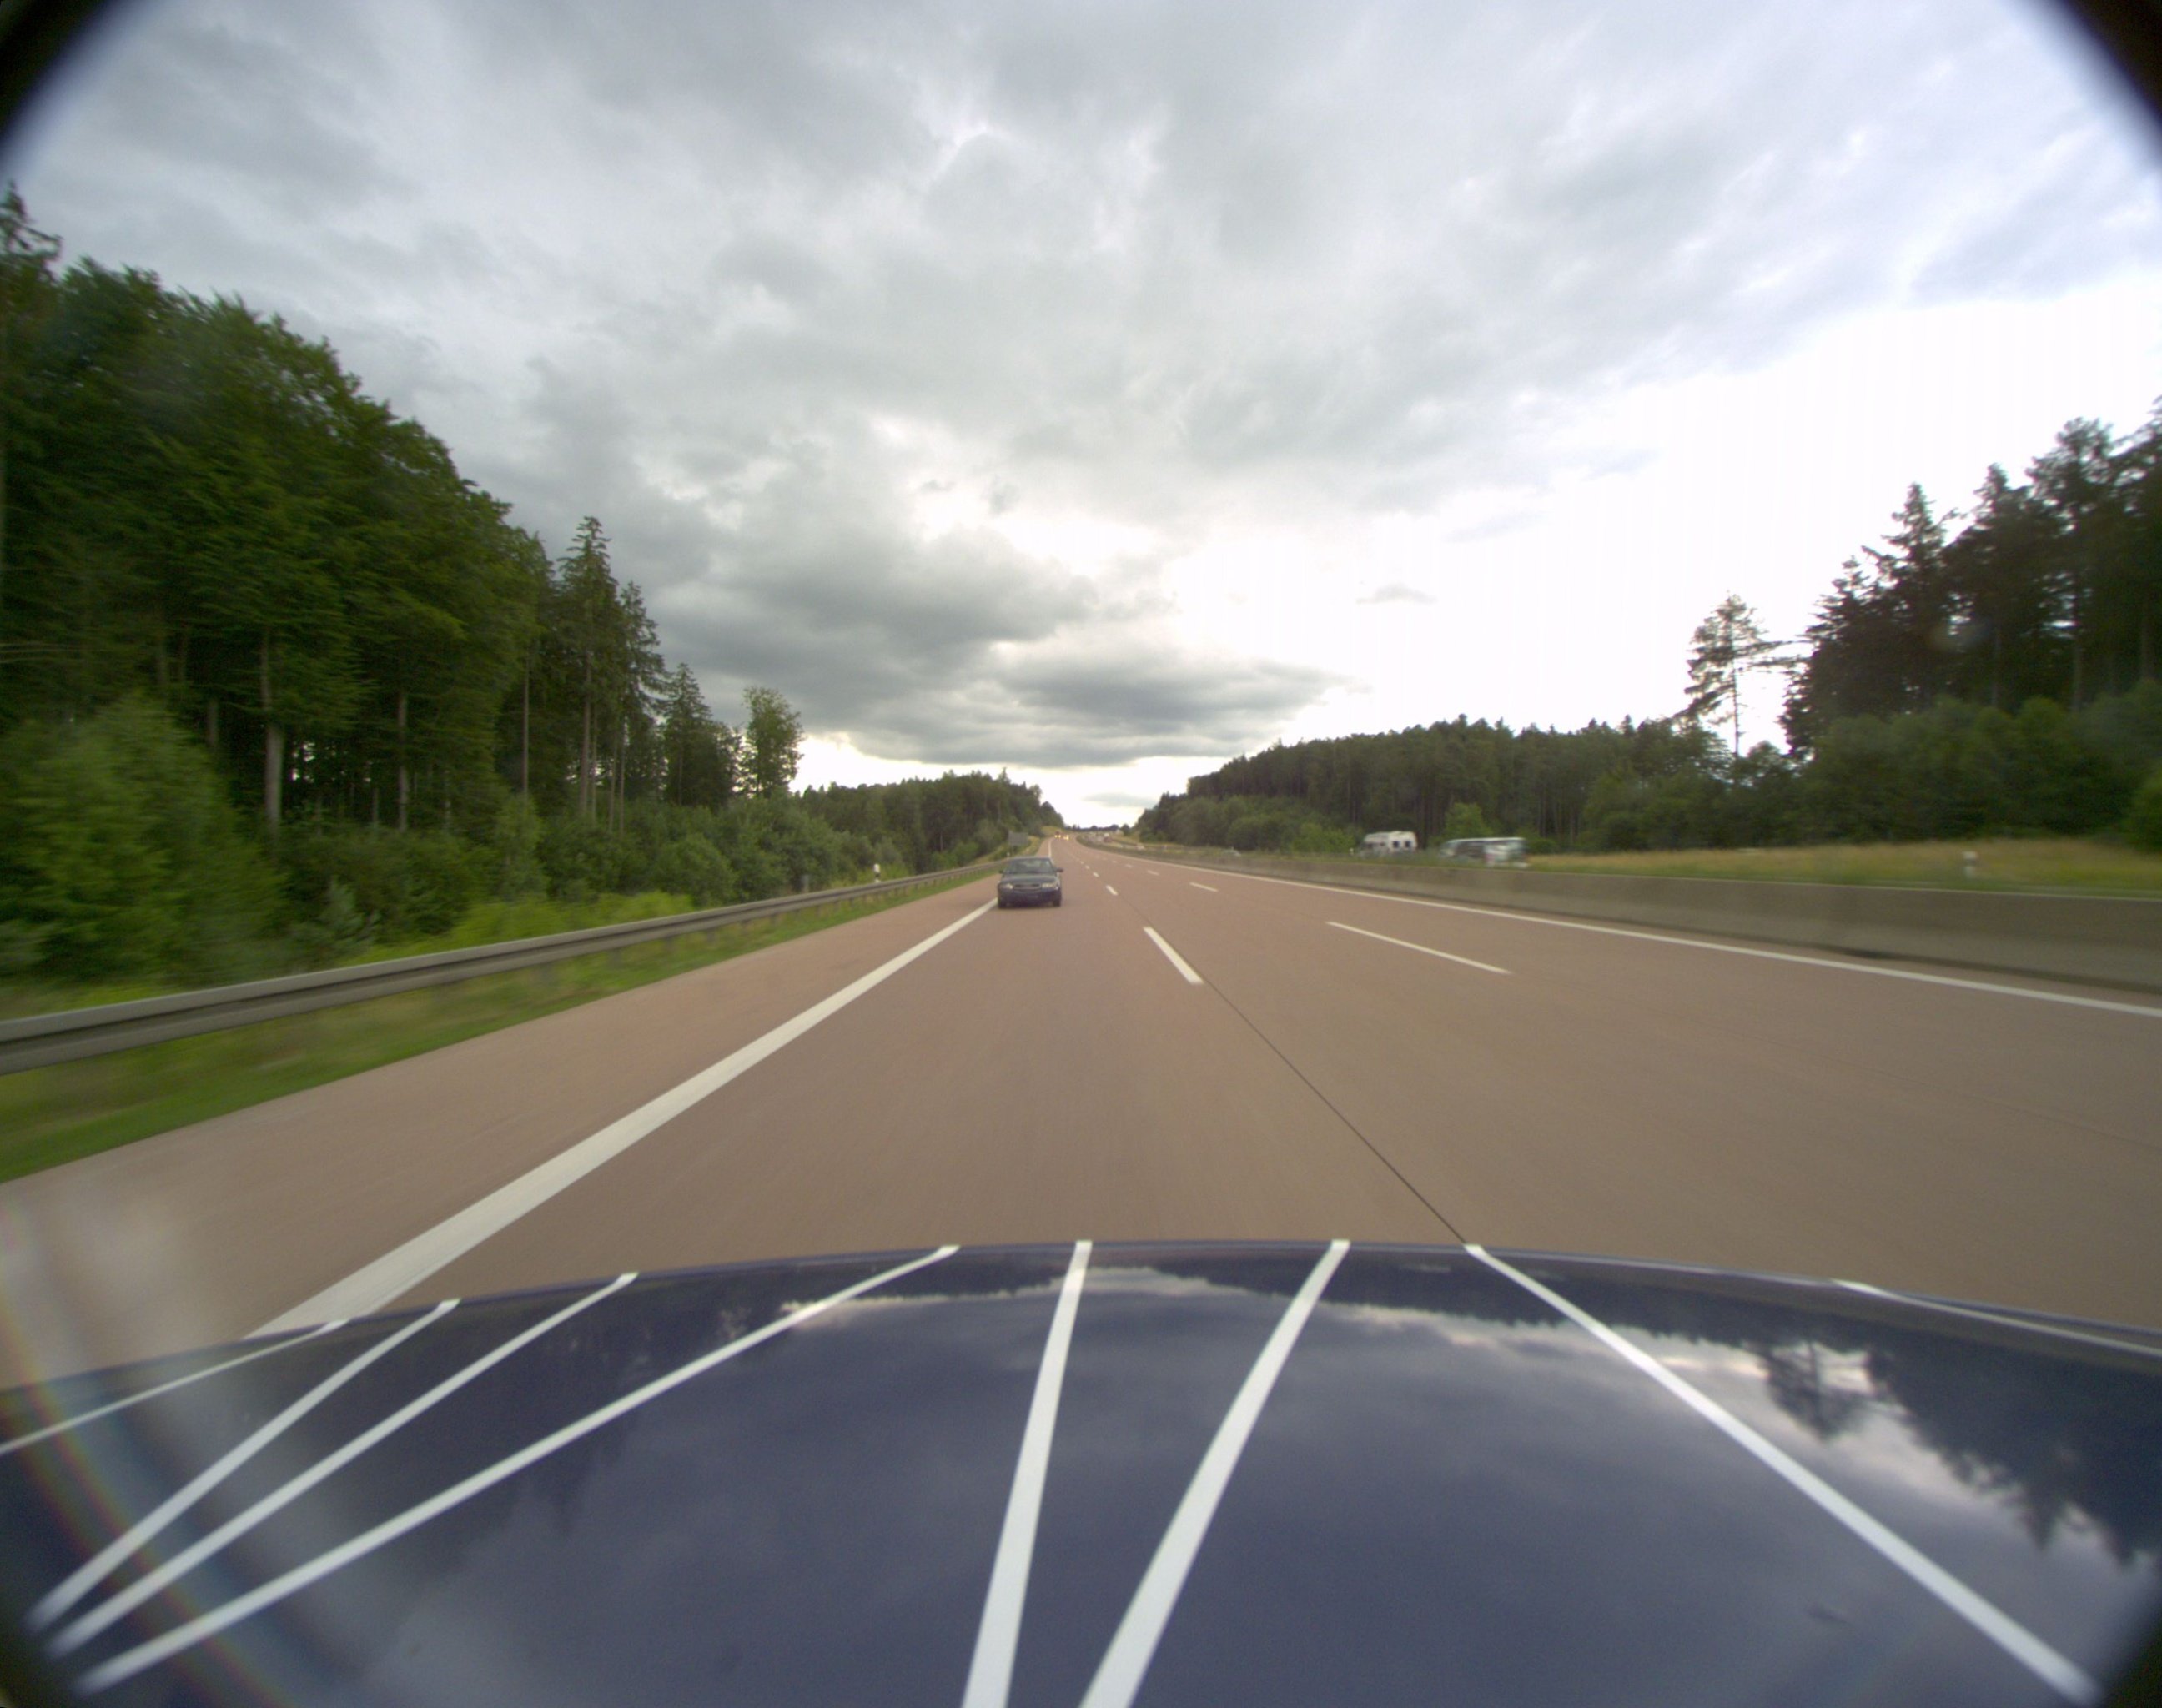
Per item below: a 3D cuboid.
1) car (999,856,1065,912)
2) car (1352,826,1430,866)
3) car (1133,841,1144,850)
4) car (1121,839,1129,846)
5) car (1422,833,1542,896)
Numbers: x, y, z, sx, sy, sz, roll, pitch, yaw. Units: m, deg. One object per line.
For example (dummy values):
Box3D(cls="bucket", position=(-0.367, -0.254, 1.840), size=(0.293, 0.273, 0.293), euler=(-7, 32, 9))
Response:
Box3D(cls="car", position=(-1.352, 0.803, 22.426), size=(1.676, 1.395, 4.232), euler=(-1, 1, 0))
Box3D(cls="car", position=(22.330, -0.599, 55.166), size=(2.466, 2.595, 7.327), euler=(-2, 1, -1))
Box3D(cls="car", position=(13.807, -2.009, 181.379), size=(2.039, 1.872, 4.722), euler=(-2, 1, -2))
Box3D(cls="car", position=(13.077, -3.410, 226.274), size=(2.039, 1.872, 4.722), euler=(-2, 1, -3))
Box3D(cls="car", position=(18.239, 0.380, 35.035), size=(2.039, 2.595, 6.353), euler=(-2, 1, -1))
